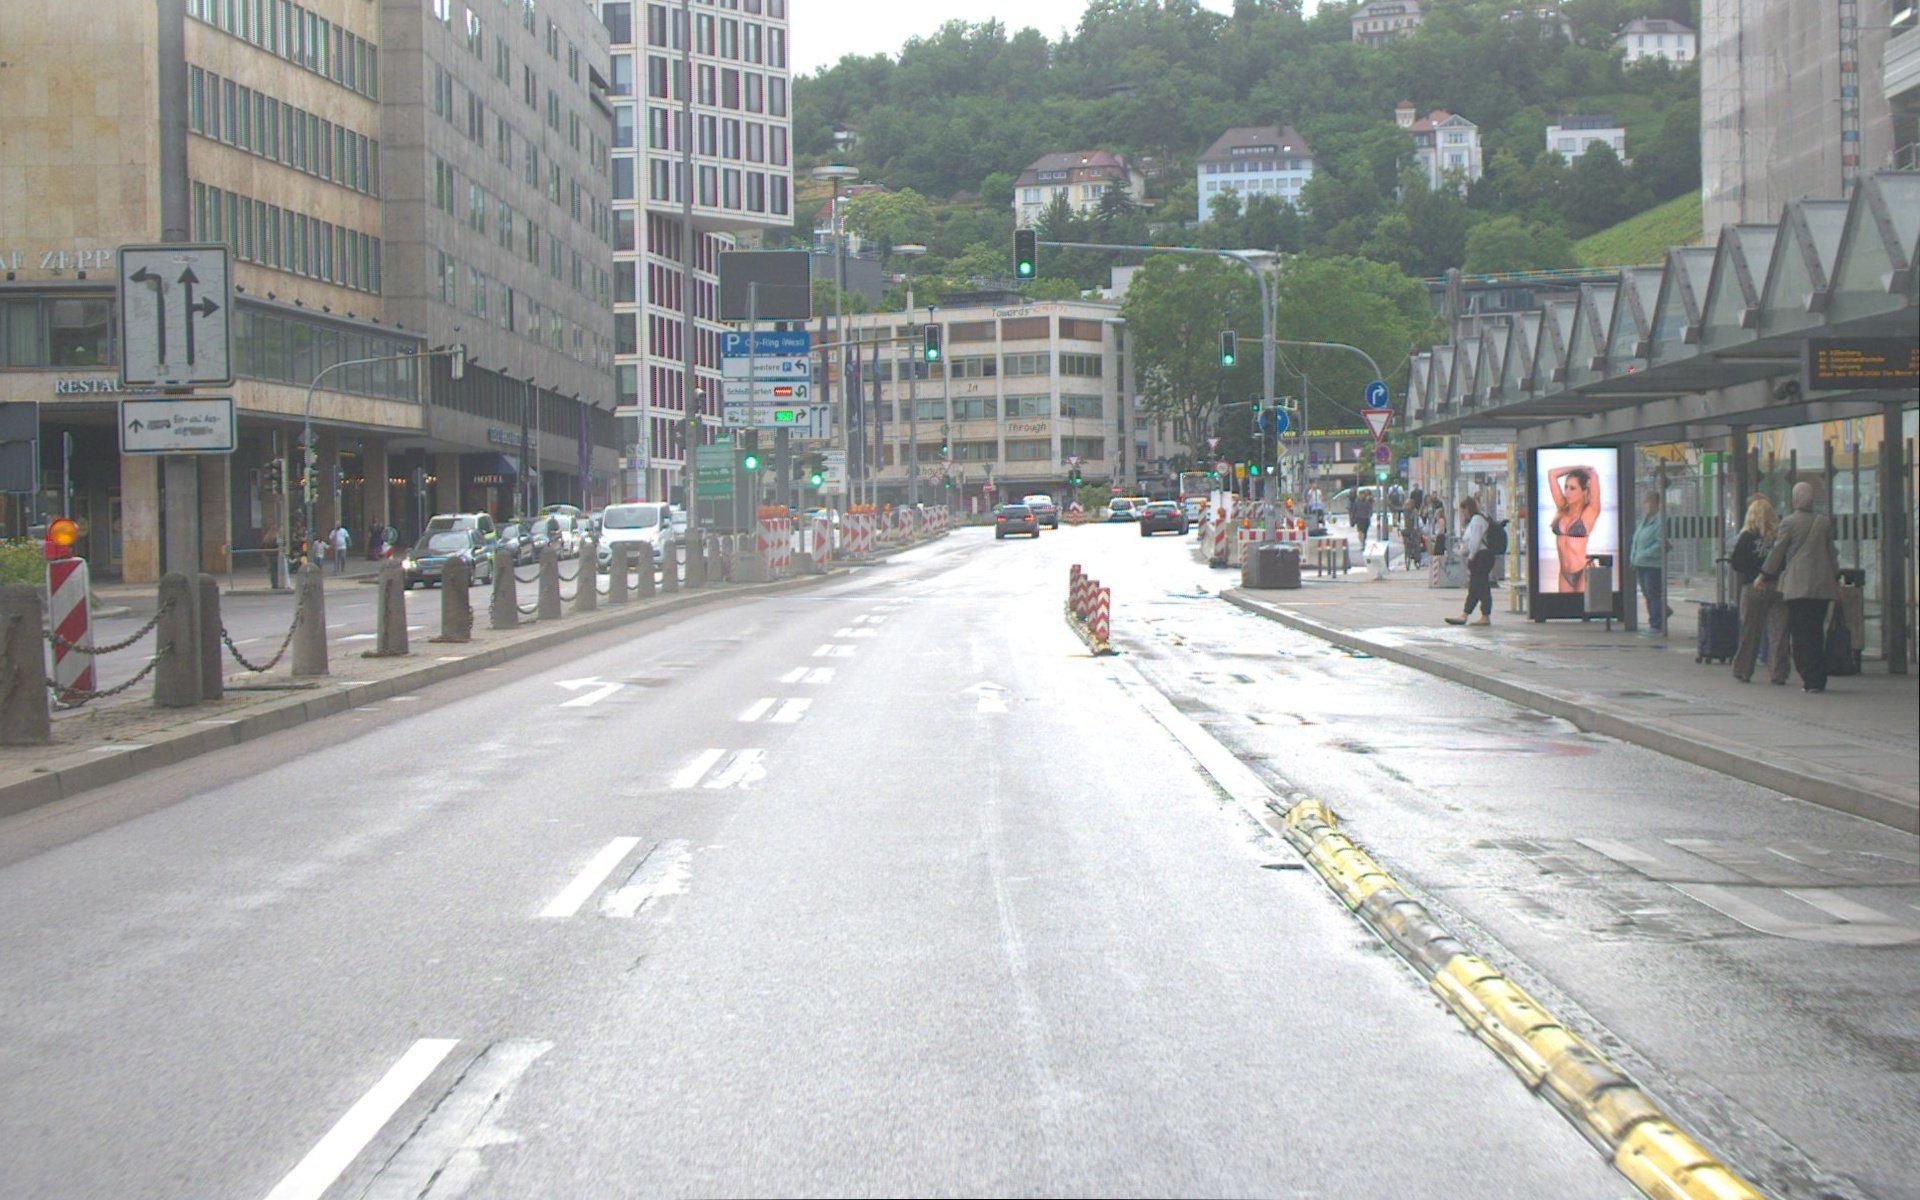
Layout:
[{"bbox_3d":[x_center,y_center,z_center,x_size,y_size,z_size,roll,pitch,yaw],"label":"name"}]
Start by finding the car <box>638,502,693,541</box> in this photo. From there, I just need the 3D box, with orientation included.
[{"bbox_3d":[-12.352,-3.290,144.426,1.768,1.603,4.226,-1,1,2],"label":"car"}]

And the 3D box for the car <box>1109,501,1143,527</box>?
[{"bbox_3d":[9.693,-5.025,200.832,1.819,1.437,4.000,1,2,1],"label":"car"}]

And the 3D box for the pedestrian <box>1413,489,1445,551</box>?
[{"bbox_3d":[14.050,-2.406,102.963,0.865,1.834,0.797,0,2,12],"label":"pedestrian"}]

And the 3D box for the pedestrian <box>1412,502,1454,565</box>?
[{"bbox_3d":[12.244,-1.726,88.934,0.796,1.602,0.834,0,1,31],"label":"pedestrian"}]

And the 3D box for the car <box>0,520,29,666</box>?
[{"bbox_3d":[-11.277,0.015,35.563,1.962,1.559,4.836,-3,2,-1],"label":"car"}]

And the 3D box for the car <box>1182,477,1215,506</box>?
[{"bbox_3d":[13.720,-6.233,197.779,1.776,1.633,4.000,-1,1,3],"label":"car"}]

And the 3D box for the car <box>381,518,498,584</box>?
[{"bbox_3d":[-13.273,-1.258,87.932,1.994,1.611,4.977,-1,1,3],"label":"car"}]

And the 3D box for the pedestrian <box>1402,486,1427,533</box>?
[{"bbox_3d":[18.024,-3.587,136.338,0.946,1.835,0.867,-1,1,8],"label":"pedestrian"}]

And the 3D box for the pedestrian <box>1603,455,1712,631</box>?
[{"bbox_3d":[8.203,-0.675,40.431,0.802,2.043,0.926,0,2,-40],"label":"pedestrian"}]

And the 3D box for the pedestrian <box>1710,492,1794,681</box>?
[{"bbox_3d":[6.621,-0.121,28.766,0.521,1.560,0.729,-1,1,0],"label":"pedestrian"}]

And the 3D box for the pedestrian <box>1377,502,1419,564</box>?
[{"bbox_3d":[11.346,-1.744,89.089,0.796,1.602,0.834,0,1,31],"label":"pedestrian"}]

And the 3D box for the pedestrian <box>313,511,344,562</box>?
[{"bbox_3d":[-19.484,-1.968,106.011,0.721,1.552,0.895,-1,1,4],"label":"pedestrian"}]

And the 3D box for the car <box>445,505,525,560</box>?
[{"bbox_3d":[-16.073,-2.291,116.525,1.994,1.831,4.000,0,1,3],"label":"car"}]

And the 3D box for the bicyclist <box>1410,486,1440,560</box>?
[{"bbox_3d":[11.657,-1.934,86.166,0.703,1.838,0.968,0,1,7],"label":"bicyclist"}]

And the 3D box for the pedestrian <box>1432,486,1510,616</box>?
[{"bbox_3d":[6.663,-0.639,44.829,0.701,1.673,0.723,-1,1,-26],"label":"pedestrian"}]

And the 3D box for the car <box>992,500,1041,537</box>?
[{"bbox_3d":[2.437,-3.529,148.342,1.993,1.546,4.000,-1,1,0],"label":"car"}]

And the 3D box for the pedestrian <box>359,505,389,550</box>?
[{"bbox_3d":[-20.052,-2.471,117.551,0.795,1.521,0.916,-1,1,4],"label":"pedestrian"}]

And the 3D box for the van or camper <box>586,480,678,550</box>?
[{"bbox_3d":[-9.721,-2.503,102.220,1.994,2.007,5.189,0,1,2],"label":"van or camper"}]

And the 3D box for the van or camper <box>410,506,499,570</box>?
[{"bbox_3d":[-16.200,-1.996,110.396,1.993,2.007,4.965,-1,1,2],"label":"van or camper"}]

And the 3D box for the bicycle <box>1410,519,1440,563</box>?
[{"bbox_3d":[11.658,-1.487,86.197,0.707,1.046,1.806,1,2,6],"label":"bicycle"}]

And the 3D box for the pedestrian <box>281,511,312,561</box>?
[{"bbox_3d":[-20.464,-1.976,106.076,0.721,1.552,0.905,-1,1,4],"label":"pedestrian"}]

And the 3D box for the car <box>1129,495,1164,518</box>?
[{"bbox_3d":[11.817,-5.934,218.246,1.993,1.437,4.000,1,2,0],"label":"car"}]

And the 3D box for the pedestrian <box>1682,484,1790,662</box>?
[{"bbox_3d":[7.339,-0.261,32.541,0.808,1.654,0.804,1,1,0],"label":"pedestrian"}]

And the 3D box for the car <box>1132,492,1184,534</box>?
[{"bbox_3d":[8.234,-3.614,143.202,1.993,1.700,4.000,-1,1,1],"label":"car"}]

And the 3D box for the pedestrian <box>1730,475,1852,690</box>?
[{"bbox_3d":[6.630,-0.147,27.456,0.762,1.687,0.822,-1,1,0],"label":"pedestrian"}]

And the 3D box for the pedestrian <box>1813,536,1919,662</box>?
[{"bbox_3d":[9.156,-0.021,34.572,0.913,1.226,0.841,1,2,0],"label":"pedestrian"}]

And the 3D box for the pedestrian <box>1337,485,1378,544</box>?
[{"bbox_3d":[12.549,-2.693,108.421,0.948,1.835,0.945,0,1,33],"label":"pedestrian"}]
